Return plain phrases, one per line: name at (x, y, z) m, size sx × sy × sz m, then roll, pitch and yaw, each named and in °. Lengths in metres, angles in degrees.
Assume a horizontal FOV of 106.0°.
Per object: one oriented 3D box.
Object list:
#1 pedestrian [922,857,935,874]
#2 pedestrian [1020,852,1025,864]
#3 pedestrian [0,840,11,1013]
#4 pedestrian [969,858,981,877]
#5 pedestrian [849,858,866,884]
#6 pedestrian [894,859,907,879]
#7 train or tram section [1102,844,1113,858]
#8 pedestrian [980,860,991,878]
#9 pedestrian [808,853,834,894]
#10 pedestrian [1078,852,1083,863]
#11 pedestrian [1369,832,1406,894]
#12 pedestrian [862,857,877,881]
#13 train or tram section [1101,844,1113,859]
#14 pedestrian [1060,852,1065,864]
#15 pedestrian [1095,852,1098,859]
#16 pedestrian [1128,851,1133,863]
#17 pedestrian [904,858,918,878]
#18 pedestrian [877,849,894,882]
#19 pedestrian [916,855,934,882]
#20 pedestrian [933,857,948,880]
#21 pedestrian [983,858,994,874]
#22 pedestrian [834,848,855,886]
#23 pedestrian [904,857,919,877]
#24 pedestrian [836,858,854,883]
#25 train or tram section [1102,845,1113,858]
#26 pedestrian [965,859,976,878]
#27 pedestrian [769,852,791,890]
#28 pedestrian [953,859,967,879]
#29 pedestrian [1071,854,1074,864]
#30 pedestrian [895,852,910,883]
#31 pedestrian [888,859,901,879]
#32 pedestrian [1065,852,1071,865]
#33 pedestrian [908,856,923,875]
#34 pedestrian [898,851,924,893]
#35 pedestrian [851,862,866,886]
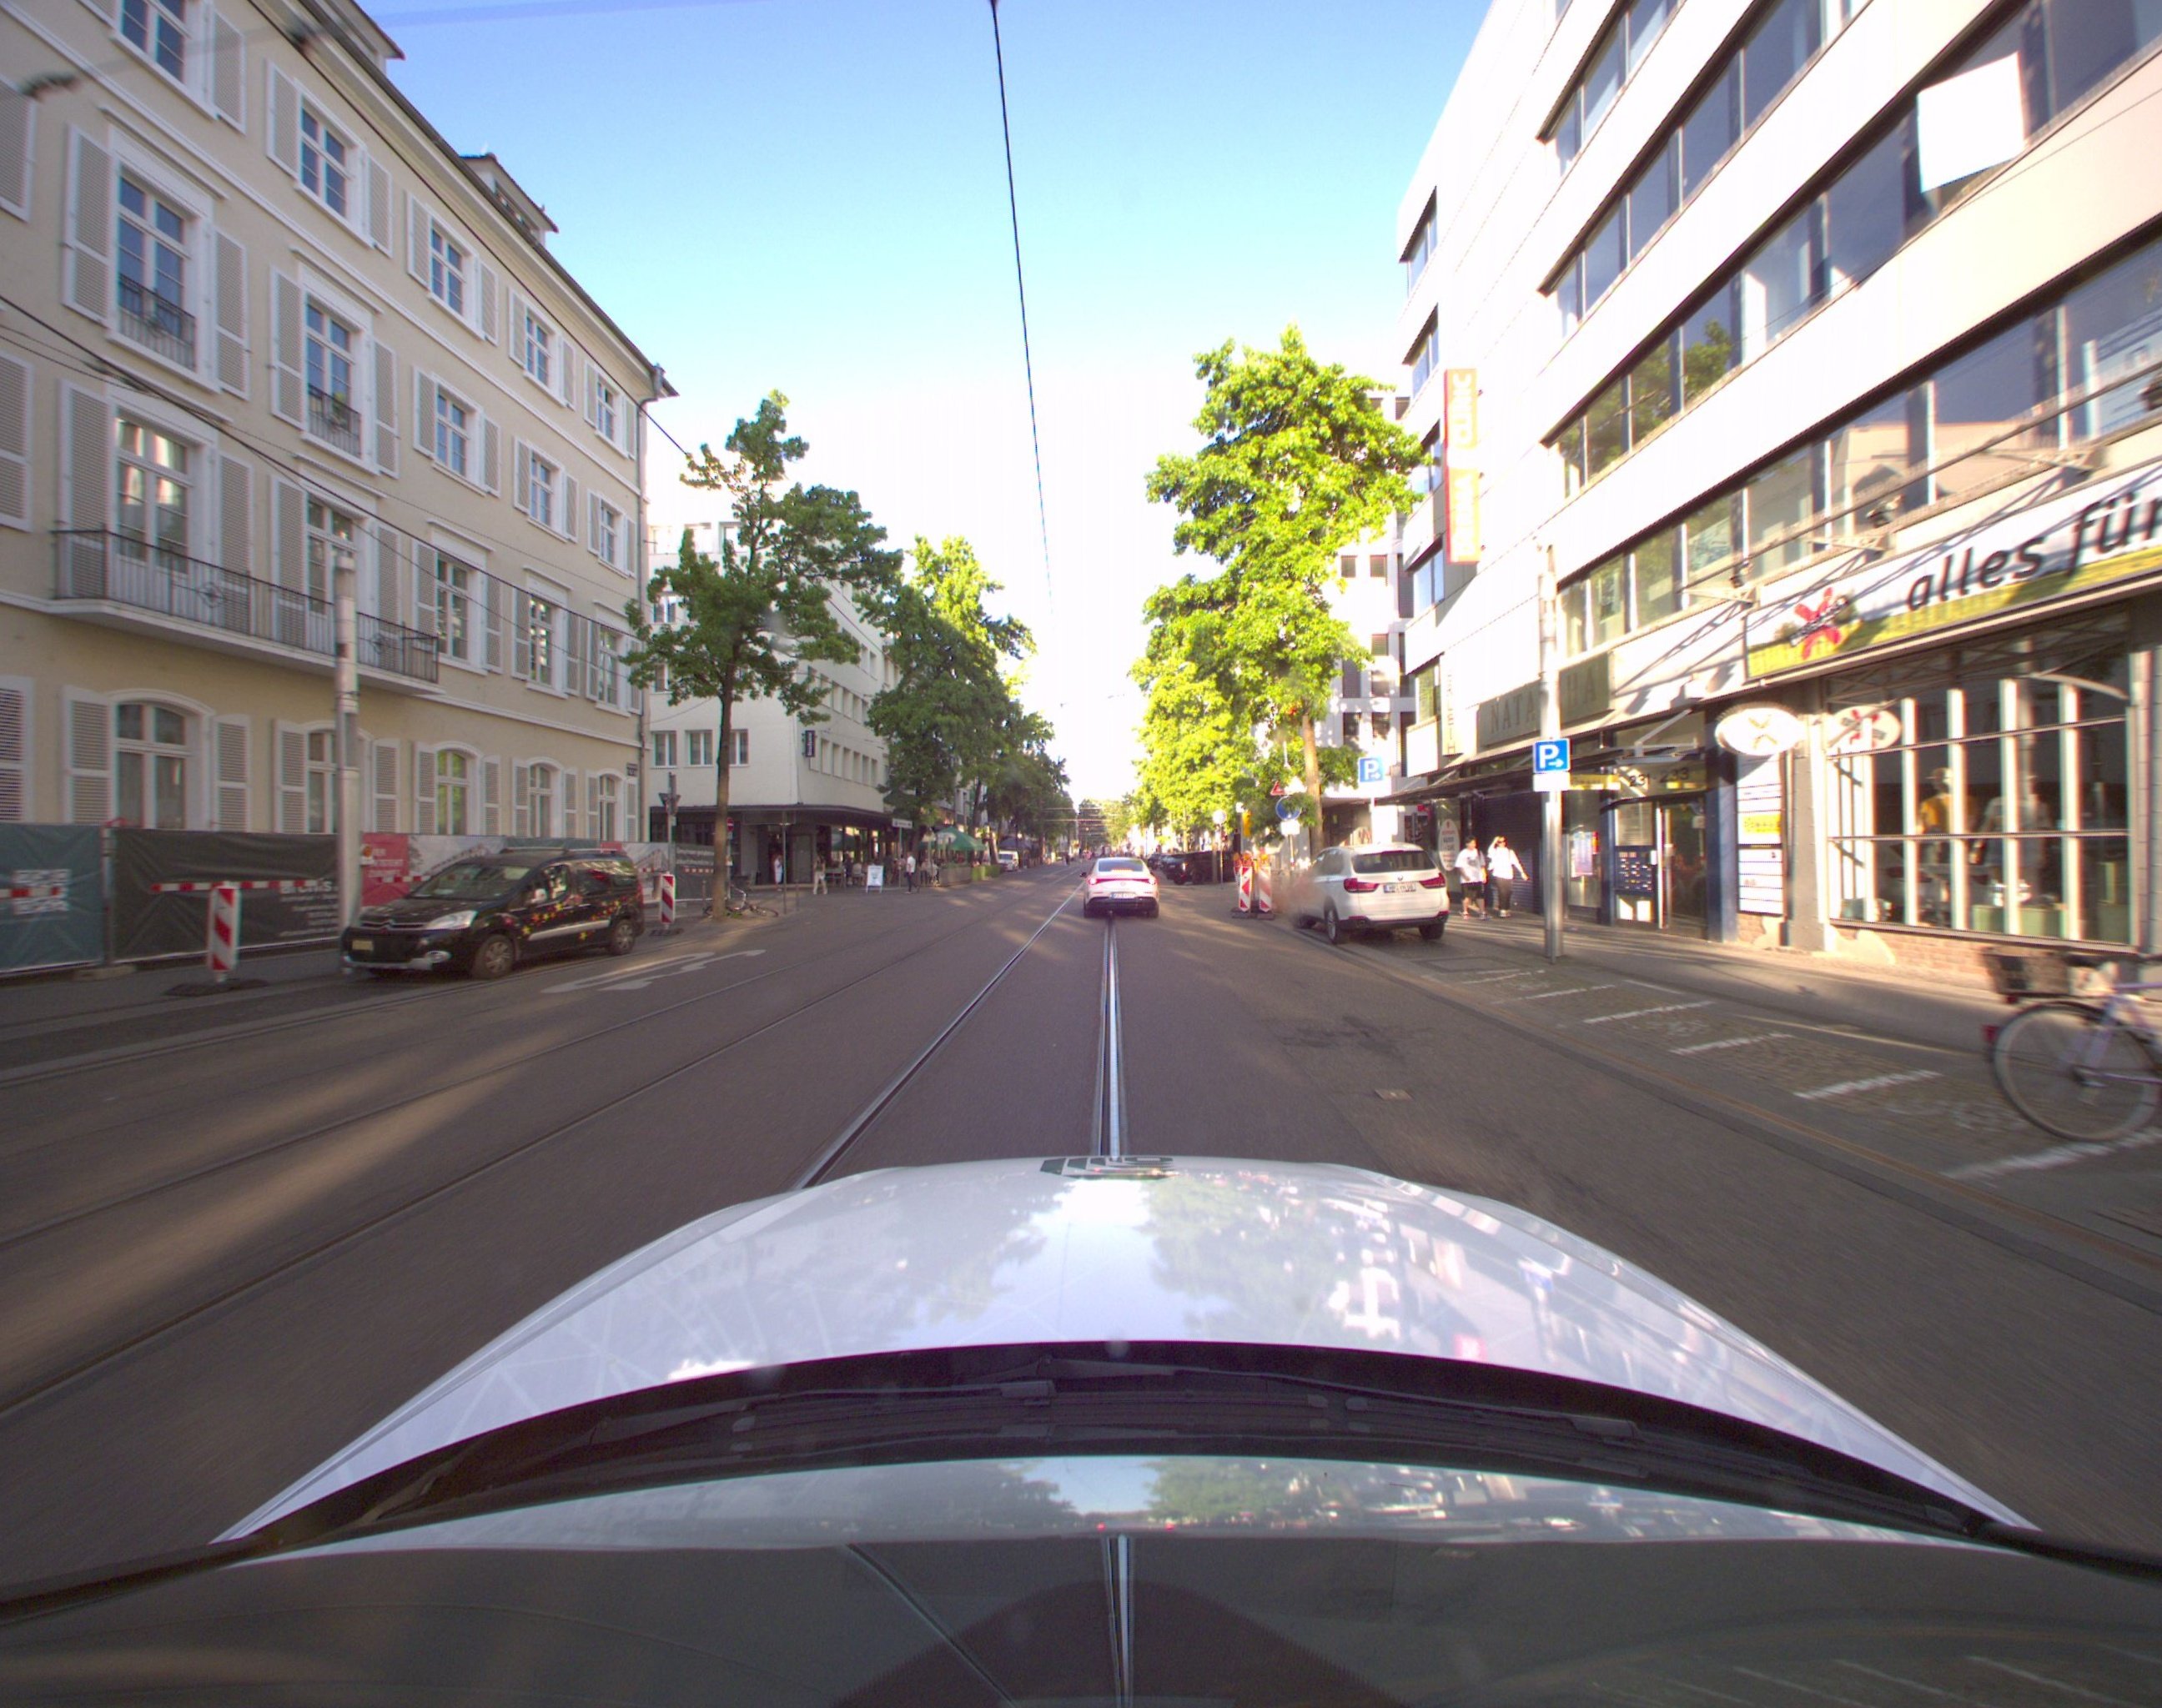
pedestrian at (-11.001, 0.814, 58.846) m, size 0.697 × 1.168 × 0.788 m, roll 2°, pitch 0°, yaw 1°
pedestrian at (-8.000, 0.542, 111.929) m, size 0.595 × 1.533 × 0.672 m, roll 1°, pitch 0°, yaw 2°
pedestrian at (-11.585, 0.744, 8.005) m, size 0.771 × 1.792 × 0.985 m, roll 2°, pitch 0°, yaw 3°
pedestrian at (-7.102, 0.920, 54.487) m, size 0.616 × 1.245 × 0.697 m, roll 2°, pitch 0°, yaw 1°
pedestrian at (-11.395, 0.863, 41.551) m, size 0.624 × 1.282 × 0.728 m, roll 1°, pitch 0°, yaw 2°
pedestrian at (-11.035, 0.909, 49.766) m, size 0.599 × 1.174 × 0.687 m, roll 1°, pitch 0°, yaw 2°
train or tram section at (6.862, -0.723, 211.845) m, size 2.684 × 3.516 × 12.551 m, roll -1°, pitch 0°, yaw 2°
pedestrian at (-7.133, 1.110, 60.710) m, size 0.654 × 1.244 × 0.873 m, roll 2°, pitch 0°, yaw 1°
pedestrian at (-10.867, 0.815, 34.072) m, size 0.704 × 1.656 × 0.968 m, roll -1°, pitch 1°, yaw 3°
pedestrian at (-0.087, 0.538, 136.854) m, size 0.784 × 1.801 × 0.845 m, roll -1°, pitch 0°, yaw 3°
pedestrian at (9.797, 0.284, 26.038) m, size 0.830 × 1.897 × 0.919 m, roll -2°, pitch 0°, yaw 4°
pedestrian at (-11.103, 0.770, 42.715) m, size 0.550 × 1.235 × 0.687 m, roll 1°, pitch 0°, yaw 2°
train or tram section at (6.381, -0.689, 199.295) m, size 2.684 × 3.516 × 12.551 m, roll -1°, pitch 0°, yaw 2°
pedestrian at (-2.249, 0.488, 99.271) m, size 0.620 × 1.509 × 0.834 m, roll 1°, pitch 0°, yaw 2°
pedestrian at (4.197, 0.415, 222.669) m, size 0.797 × 1.782 × 0.849 m, roll 1°, pitch 0°, yaw 1°
pedestrian at (7.392, 0.395, 121.610) m, size 0.838 × 1.801 × 0.791 m, roll 1°, pitch 0°, yaw 3°
pedestrian at (-10.793, 0.878, 51.741) m, size 0.667 × 1.242 × 0.799 m, roll 1°, pitch 0°, yaw 1°
pedestrian at (-10.597, 0.634, 44.128) m, size 0.675 × 1.757 × 0.697 m, roll 1°, pitch 0°, yaw 3°
pedestrian at (-8.187, 0.772, 42.761) m, size 0.686 × 1.386 × 0.807 m, roll 1°, pitch 0°, yaw 3°
pedestrian at (-8.355, 0.853, 48.417) m, size 0.686 × 1.312 × 0.807 m, roll 1°, pitch 0°, yaw 3°
pedestrian at (-7.018, 0.918, 61.578) m, size 0.654 × 1.193 × 0.798 m, roll 2°, pitch 0°, yaw 1°
pedestrian at (-11.475, 0.620, 39.529) m, size 0.679 × 1.815 × 0.767 m, roll 1°, pitch 0°, yaw 17°
pedestrian at (-11.278, 0.856, 54.162) m, size 0.734 × 1.231 × 0.788 m, roll 2°, pitch 0°, yaw 1°
pedestrian at (-12.051, 0.855, 41.644) m, size 0.642 × 1.269 × 0.739 m, roll 1°, pitch 0°, yaw 2°
train or tram section at (7.310, -0.750, 223.684) m, size 2.684 × 3.516 × 11.148 m, roll -1°, pitch 0°, yaw 2°
pedestrian at (-7.277, 0.938, 53.636) m, size 0.616 × 1.245 × 0.697 m, roll 2°, pitch 0°, yaw 1°
pedestrian at (-13.276, 0.733, 35.921) m, size 0.797 × 1.614 × 0.862 m, roll -1°, pitch 2°, yaw -15°
pedestrian at (-7.483, 0.922, 50.487) m, size 0.705 × 1.259 × 0.773 m, roll 1°, pitch 0°, yaw 4°
pedestrian at (-1.718, 1.037, 164.485) m, size 0.536 × 1.929 × 0.574 m, roll -1°, pitch 0°, yaw 5°
pedestrian at (-9.766, 0.717, 44.562) m, size 0.616 × 1.670 × 0.697 m, roll 1°, pitch 0°, yaw 1°
pedestrian at (-11.151, 0.902, 48.702) m, size 0.550 × 1.161 × 0.687 m, roll 1°, pitch 0°, yaw 2°
pedestrian at (-1.596, 0.503, 100.193) m, size 0.620 × 1.550 × 0.853 m, roll 1°, pitch 0°, yaw 2°
pedestrian at (-11.246, 0.793, 55.265) m, size 0.774 × 1.237 × 0.945 m, roll 2°, pitch 0°, yaw 1°
pedestrian at (-7.157, 0.753, 34.349) m, size 0.790 × 1.740 × 0.868 m, roll -1°, pitch 1°, yaw 10°
pedestrian at (-11.669, 1.055, 42.641) m, size 0.550 × 1.235 × 0.687 m, roll 1°, pitch 0°, yaw 2°
